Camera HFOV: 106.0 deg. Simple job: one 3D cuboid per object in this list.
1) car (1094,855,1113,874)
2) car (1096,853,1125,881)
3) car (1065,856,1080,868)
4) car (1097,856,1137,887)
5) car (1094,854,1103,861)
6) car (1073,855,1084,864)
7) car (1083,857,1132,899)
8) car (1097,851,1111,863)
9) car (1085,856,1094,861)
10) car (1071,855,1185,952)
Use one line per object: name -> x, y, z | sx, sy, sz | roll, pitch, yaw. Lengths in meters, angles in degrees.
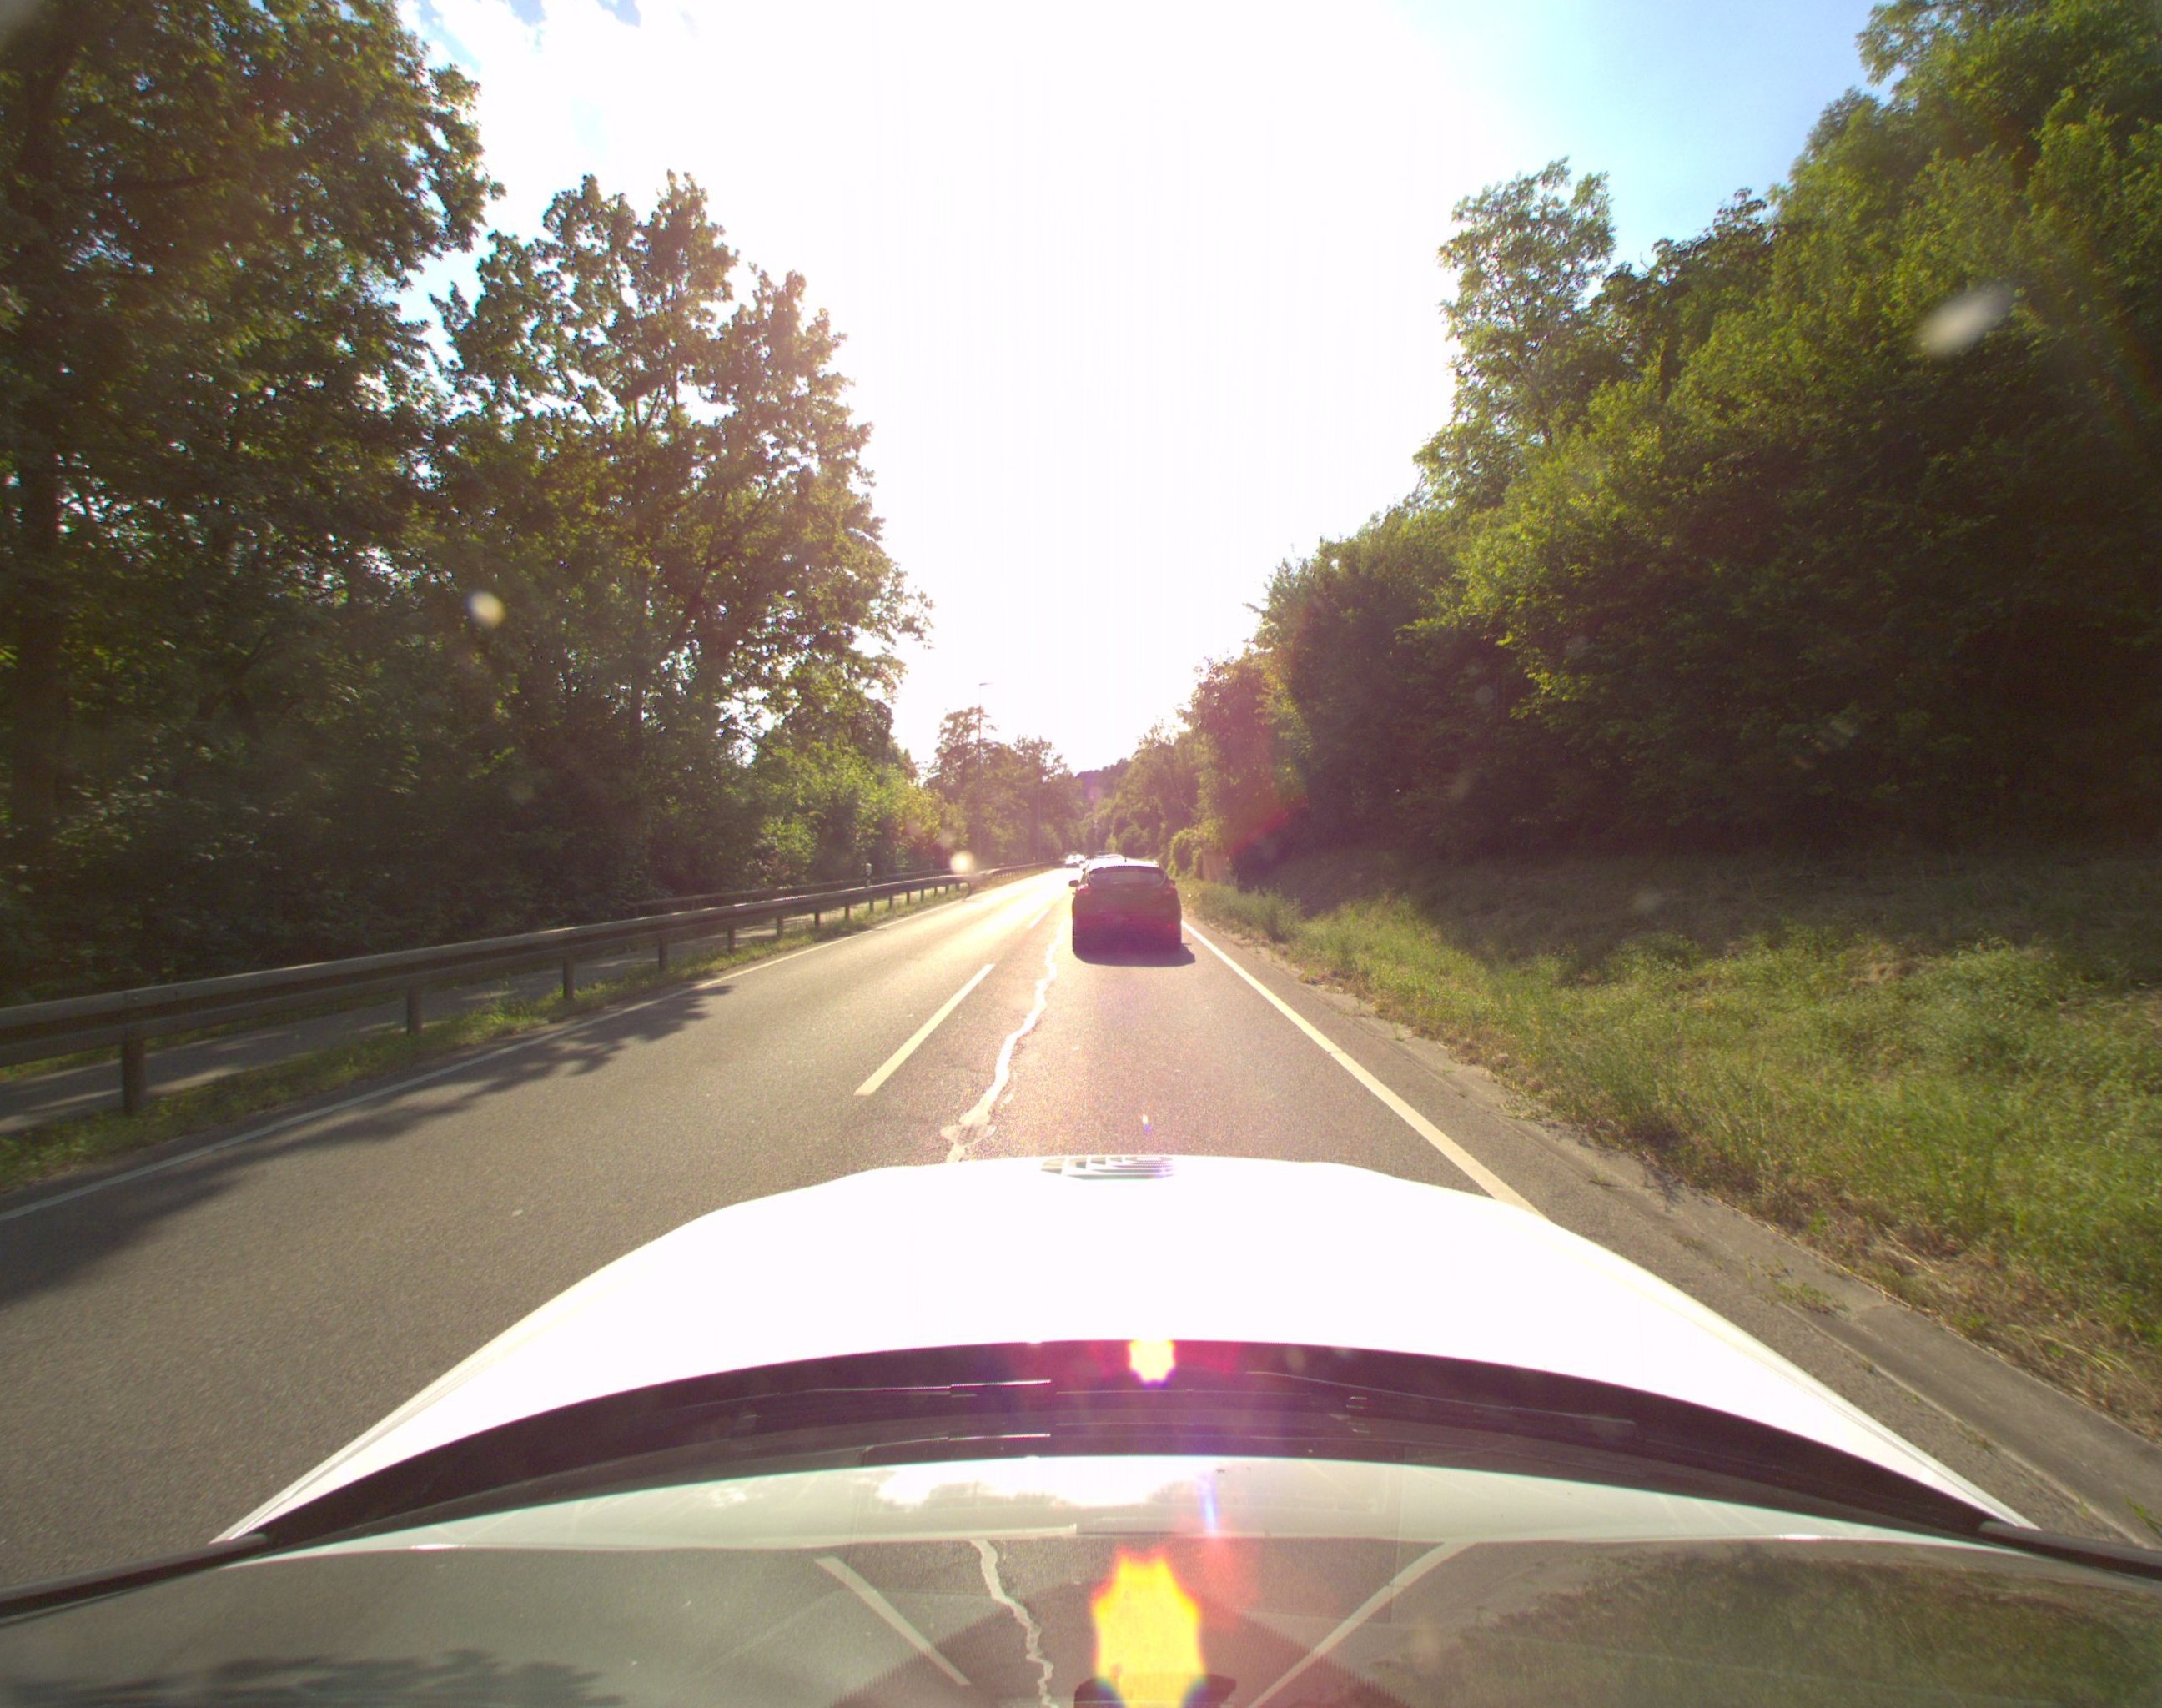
car -> 1.946, 0.867, 69.938 | 1.624, 1.596, 4.002 | -1, 0, 2
car -> 1.788, 0.768, 49.503 | 1.624, 1.596, 4.002 | -1, 0, 2
car -> -1.023, 0.921, 99.073 | 1.617, 1.377, 4.048 | -2, 0, 1
car -> 1.684, 0.786, 38.863 | 1.798, 1.391, 4.002 | -1, 0, 2
car -> 3.648, 0.737, 171.768 | 1.812, 1.519, 4.002 | -1, 0, 2
car -> -0.434, 0.979, 138.290 | 1.675, 1.463, 4.198 | -1, 0, 1
car -> 1.023, 0.826, 29.811 | 1.654, 1.418, 4.003 | -1, 0, 3
car -> 3.452, 0.433, 122.768 | 1.857, 1.780, 3.998 | -1, 0, -1
car -> 2.286, 1.223, 227.204 | 1.990, 1.519, 3.993 | -1, 0, -5
car -> 0.783, 0.771, 14.427 | 1.733, 1.456, 4.002 | -1, 0, 2
